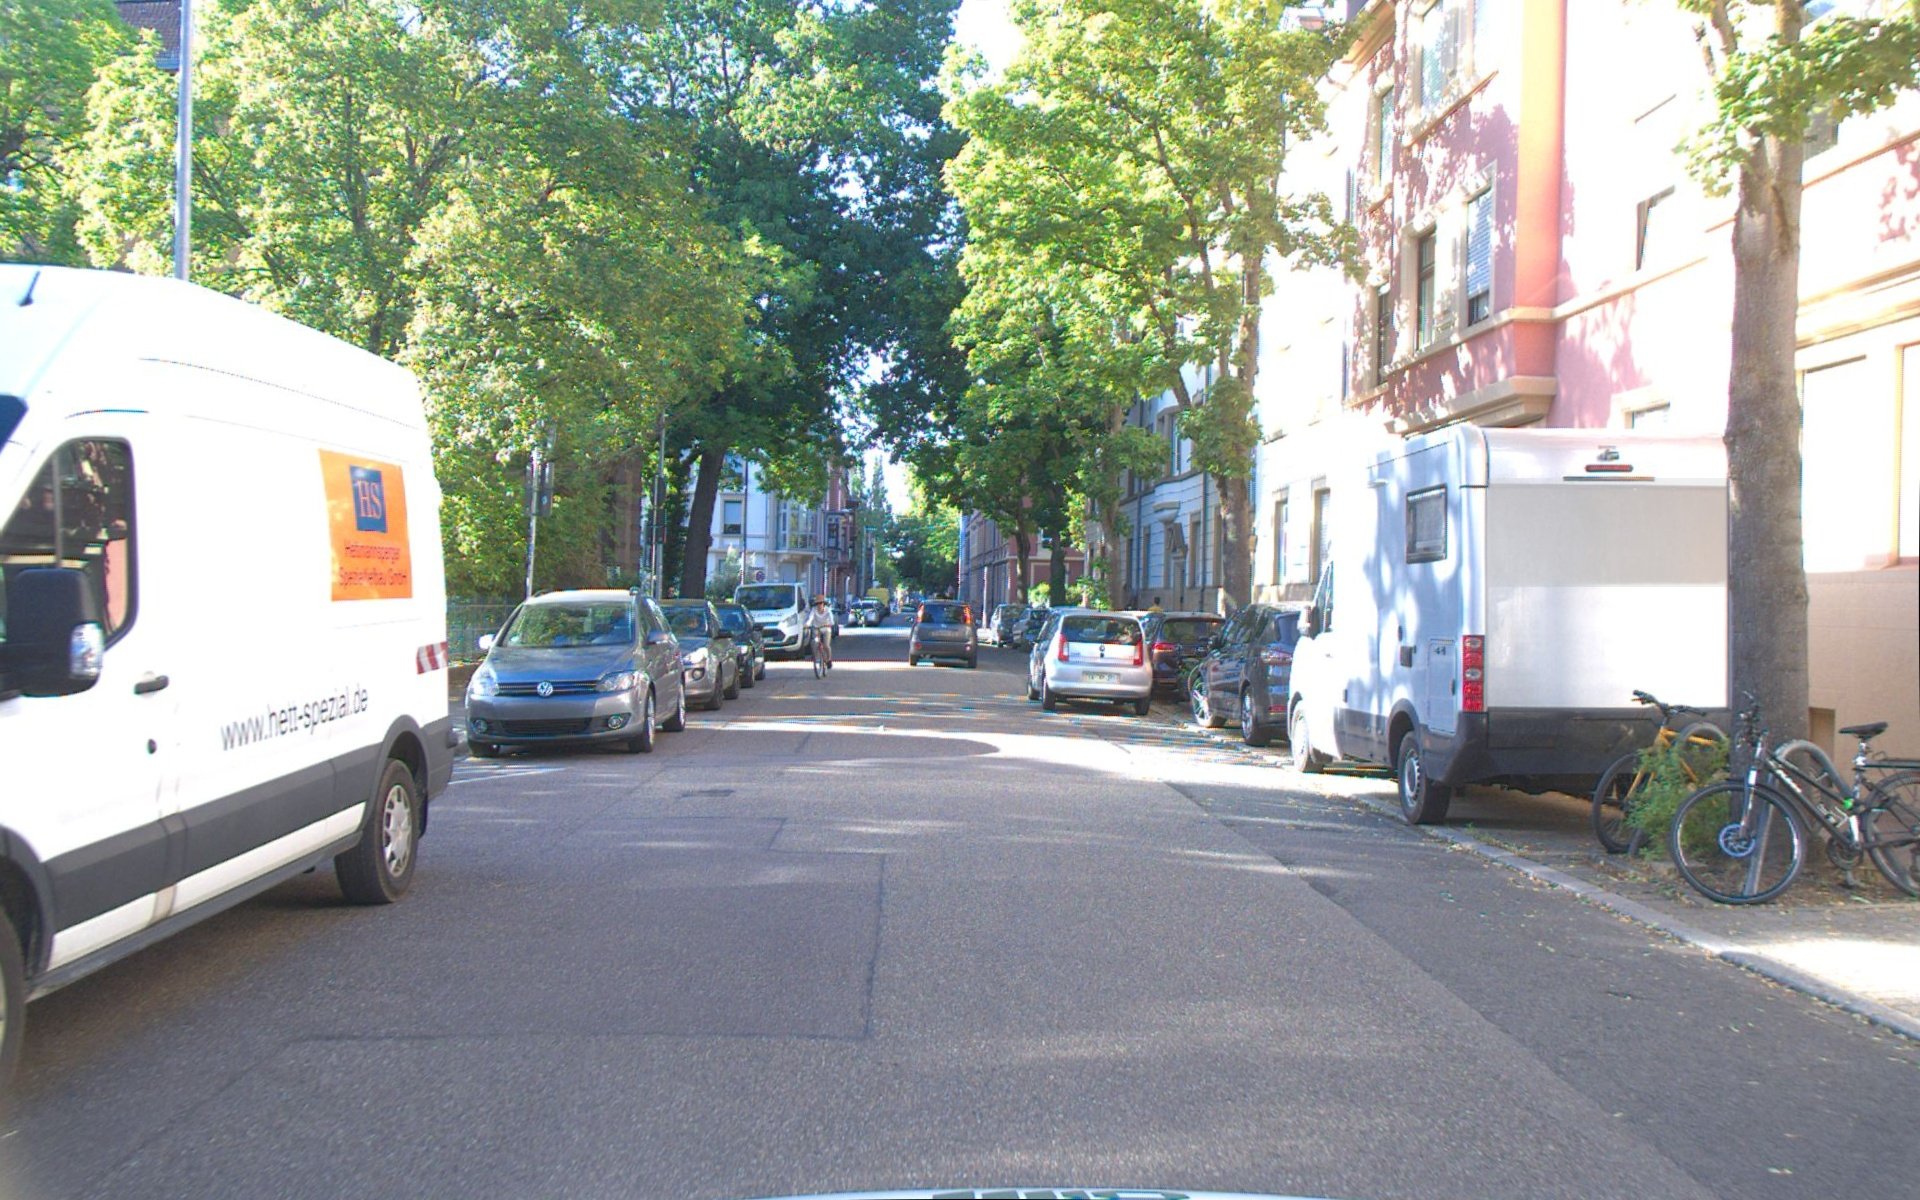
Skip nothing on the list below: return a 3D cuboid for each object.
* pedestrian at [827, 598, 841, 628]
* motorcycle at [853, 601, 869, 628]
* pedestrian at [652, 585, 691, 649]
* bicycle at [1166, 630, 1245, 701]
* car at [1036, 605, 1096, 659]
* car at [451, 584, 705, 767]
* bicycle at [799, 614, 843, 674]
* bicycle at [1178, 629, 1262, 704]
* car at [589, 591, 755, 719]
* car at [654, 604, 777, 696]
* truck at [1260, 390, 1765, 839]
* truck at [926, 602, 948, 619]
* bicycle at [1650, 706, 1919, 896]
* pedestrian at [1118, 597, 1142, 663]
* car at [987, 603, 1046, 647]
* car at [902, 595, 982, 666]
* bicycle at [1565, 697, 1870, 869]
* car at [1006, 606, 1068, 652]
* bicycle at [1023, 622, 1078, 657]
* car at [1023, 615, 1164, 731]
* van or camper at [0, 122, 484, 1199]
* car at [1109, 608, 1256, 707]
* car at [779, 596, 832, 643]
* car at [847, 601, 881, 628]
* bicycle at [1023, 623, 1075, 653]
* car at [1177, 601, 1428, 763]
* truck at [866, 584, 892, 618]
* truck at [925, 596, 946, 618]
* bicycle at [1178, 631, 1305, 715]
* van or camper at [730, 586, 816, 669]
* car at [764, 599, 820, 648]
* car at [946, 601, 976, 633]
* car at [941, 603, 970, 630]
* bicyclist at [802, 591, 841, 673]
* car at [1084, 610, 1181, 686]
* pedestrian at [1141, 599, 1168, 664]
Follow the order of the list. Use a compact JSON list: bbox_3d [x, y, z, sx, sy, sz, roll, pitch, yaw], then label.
[{"bbox_3d":[-7.986,0.846,104.868,0.707,1.871,0.627,2,0,9],"label":"pedestrian"},{"bbox_3d":[-5.591,0.827,93.298,0.684,1.486,1.746,0,0,-11],"label":"motorcycle"},{"bbox_3d":[-7.474,0.438,42.828,0.863,1.605,0.529,2,0,-1],"label":"pedestrian"},{"bbox_3d":[3.818,1.017,25.704,1.176,1.094,0.298,0,0,-3],"label":"bicycle"},{"bbox_3d":[3.192,0.949,50.182,1.489,1.537,3.542,1,0,-2],"label":"car"},{"bbox_3d":[-3.784,0.672,17.139,1.744,1.618,4.467,-1,0,-2],"label":"car"},{"bbox_3d":[-2.643,0.825,31.576,0.651,1.096,1.685,2,0,0],"label":"bicycle"},{"bbox_3d":[4.091,1.043,26.062,1.281,1.160,0.328,0,0,-3],"label":"bicycle"},{"bbox_3d":[-3.957,0.701,23.340,1.642,1.600,4.150,-2,0,-1],"label":"car"},{"bbox_3d":[-4.298,0.832,29.627,1.680,1.419,4.776,-3,0,-3],"label":"car"},{"bbox_3d":[4.336,0.085,14.348,2.032,3.020,6.105,-1,0,-3],"label":"truck"},{"bbox_3d":[-2.214,1.001,157.684,1.953,1.482,3.998,1,0,-2],"label":"truck"},{"bbox_3d":[4.877,1.121,9.294,1.749,0.965,0.579,2,0,-1],"label":"bicycle"},{"bbox_3d":[4.601,0.803,44.812,0.509,1.765,0.878,2,0,-1],"label":"pedestrian"},{"bbox_3d":[2.135,0.943,63.917,1.754,1.578,4.405,2,0,-5],"label":"car"},{"bbox_3d":[-0.465,0.690,39.096,1.601,1.577,3.260,0,0,-6],"label":"car"},{"bbox_3d":[4.860,1.165,10.657,1.671,1.017,0.705,2,-1,-9],"label":"bicycle"},{"bbox_3d":[2.689,1.012,58.268,1.580,1.504,3.865,1,0,-6],"label":"car"},{"bbox_3d":[2.936,1.292,53.695,1.734,1.057,0.606,2,0,-2],"label":"bicycle"},{"bbox_3d":[2.001,1.072,25.746,1.645,1.571,3.798,2,0,-3],"label":"car"},{"bbox_3d":[-3.620,0.165,6.296,2.086,2.817,5.849,-1,0,-2],"label":"van or camper"},{"bbox_3d":[3.819,0.947,29.143,1.751,1.540,4.457,2,0,-3],"label":"car"},{"bbox_3d":[-5.555,0.680,59.922,1.789,1.581,4.130,-2,0,-4],"label":"car"},{"bbox_3d":[-5.566,0.852,96.597,1.760,1.457,3.924,-2,0,-1],"label":"car"},{"bbox_3d":[2.959,1.270,54.919,1.681,0.966,0.733,0,0,-2],"label":"bicycle"},{"bbox_3d":[4.118,0.911,20.749,1.848,1.746,4.941,1,0,-3],"label":"car"},{"bbox_3d":[-7.281,0.100,149.170,2.028,2.977,5.066,-2,0,-1],"label":"truck"},{"bbox_3d":[-2.431,0.669,163.060,1.953,2.027,3.998,1,0,-2],"label":"truck"},{"bbox_3d":[4.182,1.074,24.613,1.775,1.187,0.569,-1,0,-3],"label":"bicycle"},{"bbox_3d":[-4.909,0.688,44.140,1.883,2.014,5.458,-2,0,-3],"label":"van or camper"},{"bbox_3d":[-5.497,0.754,54.539,1.569,1.485,4.026,-2,0,-2],"label":"car"},{"bbox_3d":[0.044,0.973,94.351,1.629,1.698,3.756,2,0,-1],"label":"car"},{"bbox_3d":[-0.269,0.983,98.834,1.629,1.531,3.756,2,0,-1],"label":"car"},{"bbox_3d":[-2.644,0.614,31.654,0.638,1.535,0.624,2,0,0],"label":"bicyclist"},{"bbox_3d":[3.641,0.975,35.360,1.564,1.514,3.747,0,0,-2],"label":"car"},{"bbox_3d":[5.256,0.841,44.676,0.583,1.731,0.689,2,0,-1],"label":"pedestrian"}]
